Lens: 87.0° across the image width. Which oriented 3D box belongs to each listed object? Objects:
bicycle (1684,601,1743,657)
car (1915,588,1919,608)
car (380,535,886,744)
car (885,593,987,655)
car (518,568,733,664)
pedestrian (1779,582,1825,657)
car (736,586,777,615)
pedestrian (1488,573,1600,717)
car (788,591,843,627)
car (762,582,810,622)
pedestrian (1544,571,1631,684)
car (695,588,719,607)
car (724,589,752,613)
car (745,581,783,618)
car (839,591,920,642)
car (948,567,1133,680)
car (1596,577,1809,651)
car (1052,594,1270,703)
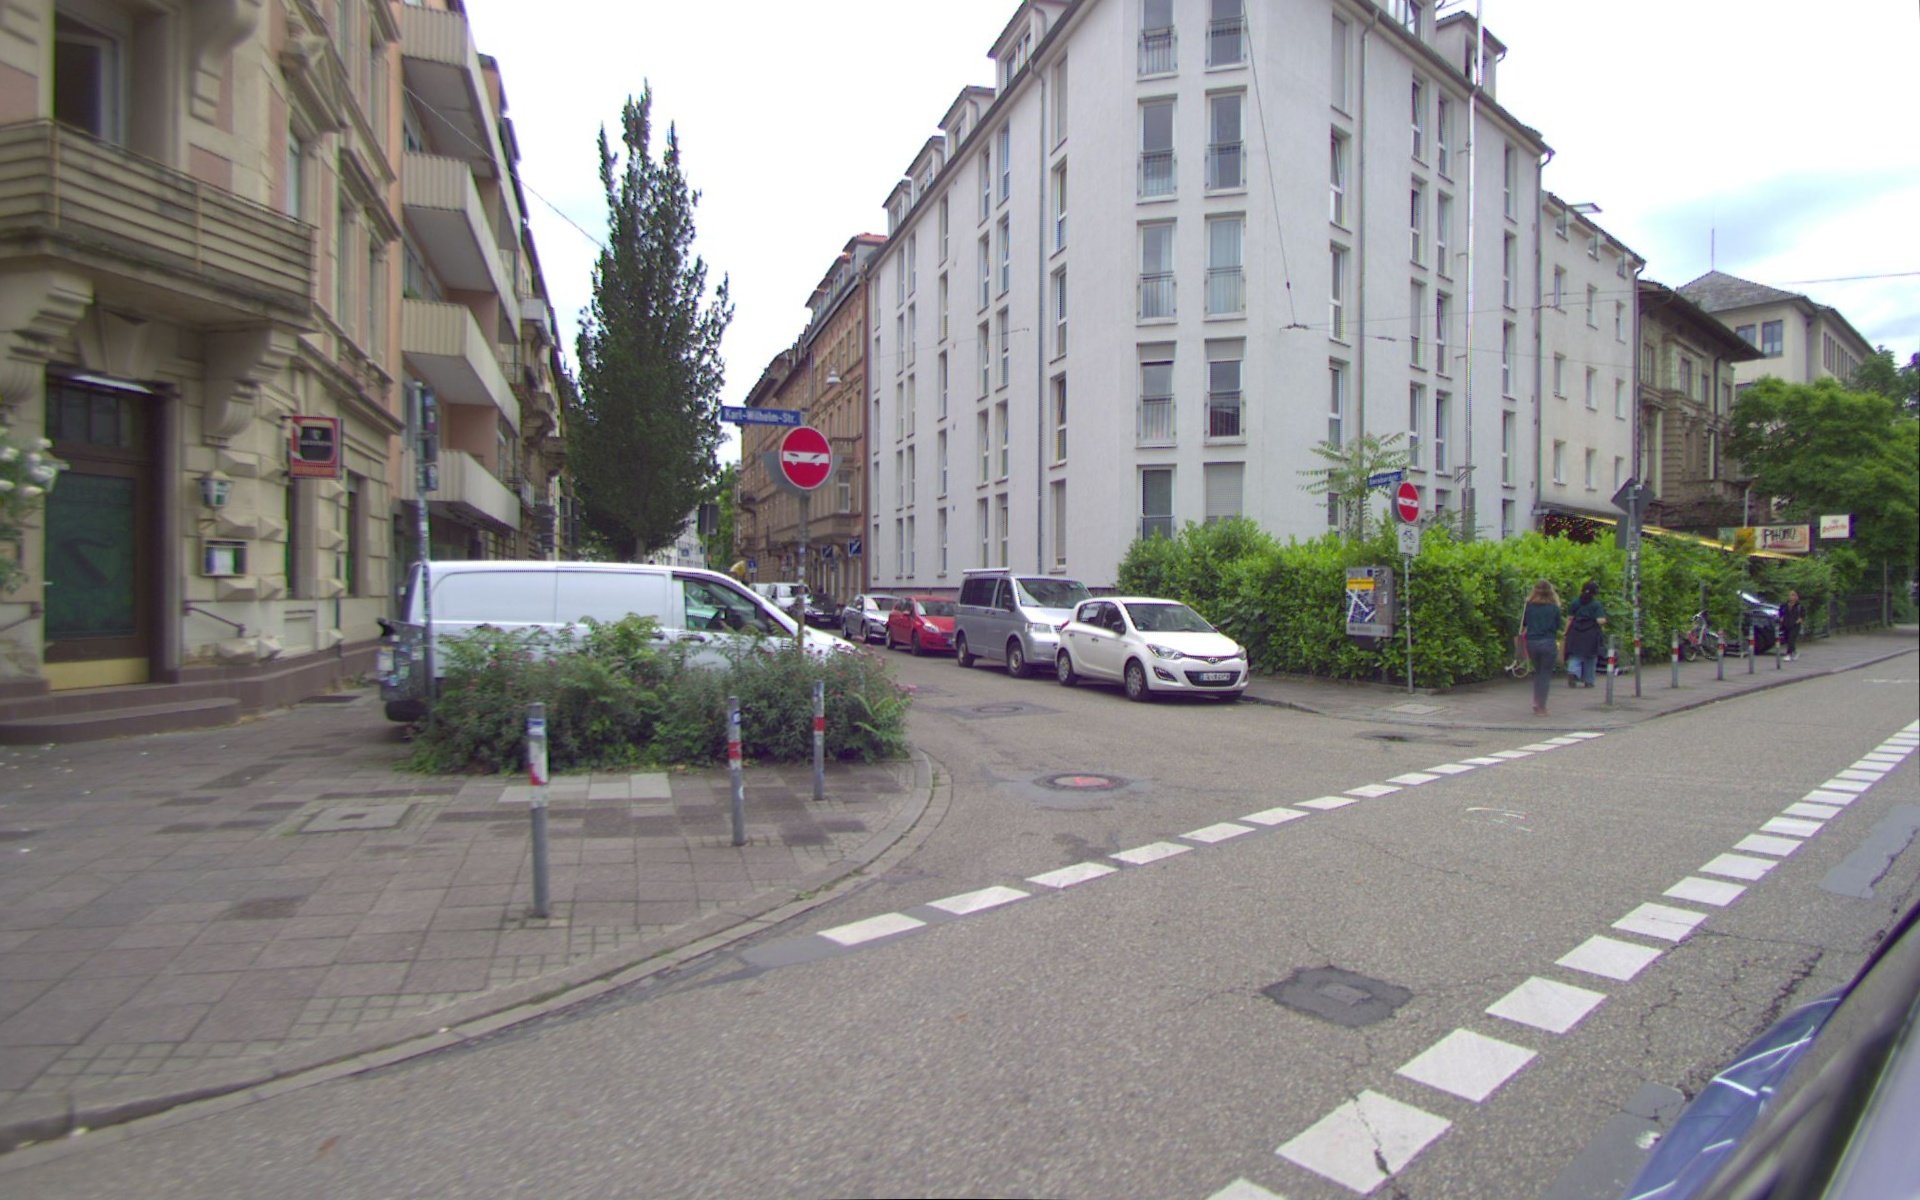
[{"bbox_3d":[16.350,0.614,21.944,1.781,1.142,0.634,0,2,-41],"label":"bicycle"},{"bbox_3d":[76.201,-0.167,77.354,4.284,1.571,1.734,0,0,28],"label":"car"},{"bbox_3d":[-3.494,0.331,11.200,4.925,1.901,2.062,0,0,-25],"label":"car"},{"bbox_3d":[-0.697,0.565,26.070,1.534,1.471,3.831,1,0,-19],"label":"car"},{"bbox_3d":[-7.940,0.312,24.247,4.689,2.070,1.899,-1,1,-19],"label":"car"},{"bbox_3d":[19.769,0.439,23.753,0.943,1.691,0.624,0,3,-41],"label":"pedestrian"},{"bbox_3d":[-11.929,-0.007,59.102,1.860,1.631,4.510,0,1,-18],"label":"car"},{"bbox_3d":[7.165,0.520,12.434,0.891,1.677,0.876,0,0,-31],"label":"pedestrian"},{"bbox_3d":[-5.998,0.338,41.803,1.653,1.414,3.763,0,0,-18],"label":"car"},{"bbox_3d":[-8.263,0.057,47.747,1.603,1.813,4.579,0,1,-18],"label":"car"},{"bbox_3d":[9.569,0.394,15.440,0.819,1.656,0.797,-1,2,-25],"label":"pedestrian"},{"bbox_3d":[-22.649,-0.225,90.485,1.860,1.631,4.510,0,1,-18],"label":"car"},{"bbox_3d":[-14.232,0.028,64.814,1.438,1.480,3.498,0,0,-17],"label":"car"},{"bbox_3d":[-10.518,-0.050,54.144,1.592,1.921,3.704,0,1,-18],"label":"car"},{"bbox_3d":[-2.516,0.457,30.966,1.580,1.466,3.830,0,0,-19],"label":"car"},{"bbox_3d":[1.428,0.387,20.133,1.935,1.963,4.755,1,0,-18],"label":"car"},{"bbox_3d":[19.750,0.301,27.084,1.790,1.832,4.291,0,1,-38],"label":"car"},{"bbox_3d":[2.929,0.646,15.599,1.636,1.449,3.829,1,0,-18],"label":"car"}]
